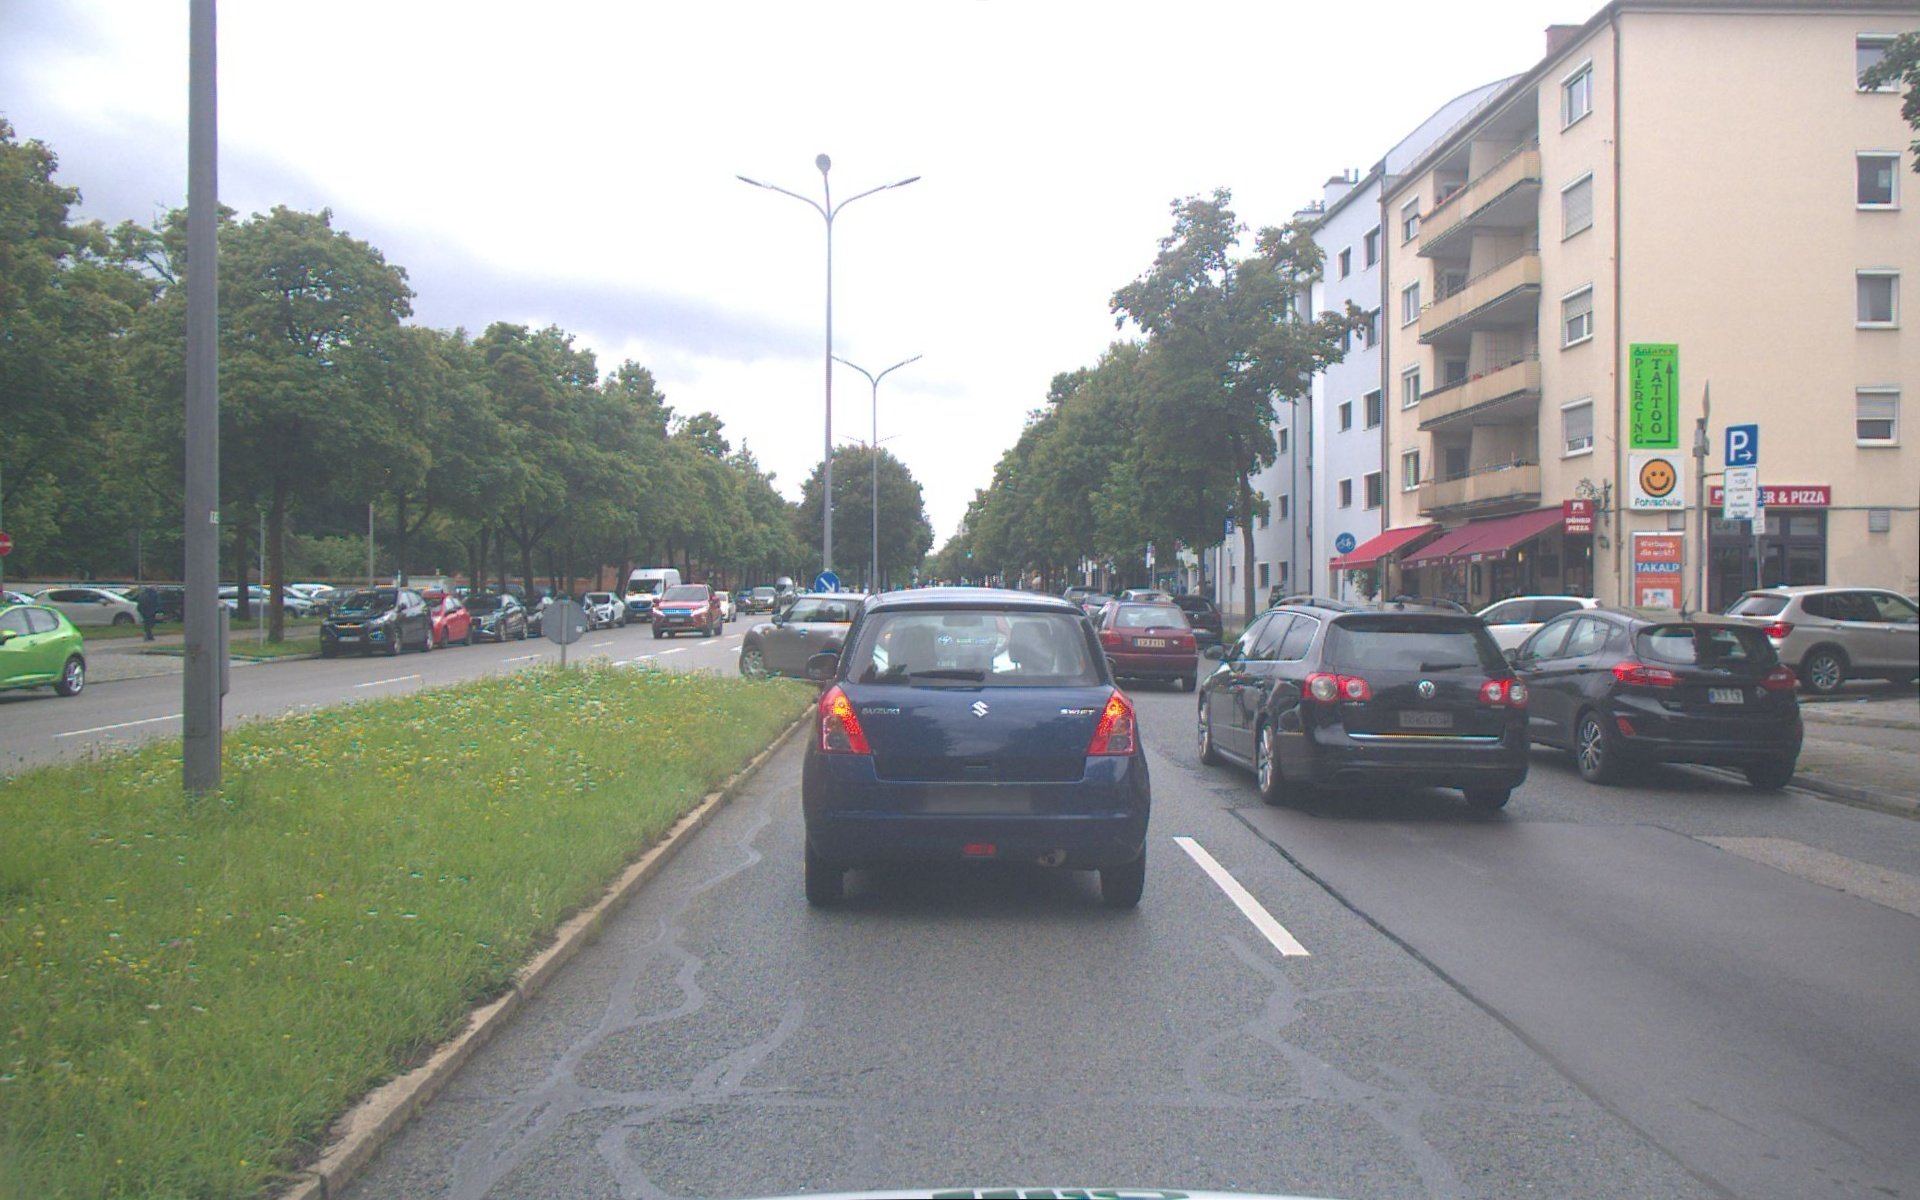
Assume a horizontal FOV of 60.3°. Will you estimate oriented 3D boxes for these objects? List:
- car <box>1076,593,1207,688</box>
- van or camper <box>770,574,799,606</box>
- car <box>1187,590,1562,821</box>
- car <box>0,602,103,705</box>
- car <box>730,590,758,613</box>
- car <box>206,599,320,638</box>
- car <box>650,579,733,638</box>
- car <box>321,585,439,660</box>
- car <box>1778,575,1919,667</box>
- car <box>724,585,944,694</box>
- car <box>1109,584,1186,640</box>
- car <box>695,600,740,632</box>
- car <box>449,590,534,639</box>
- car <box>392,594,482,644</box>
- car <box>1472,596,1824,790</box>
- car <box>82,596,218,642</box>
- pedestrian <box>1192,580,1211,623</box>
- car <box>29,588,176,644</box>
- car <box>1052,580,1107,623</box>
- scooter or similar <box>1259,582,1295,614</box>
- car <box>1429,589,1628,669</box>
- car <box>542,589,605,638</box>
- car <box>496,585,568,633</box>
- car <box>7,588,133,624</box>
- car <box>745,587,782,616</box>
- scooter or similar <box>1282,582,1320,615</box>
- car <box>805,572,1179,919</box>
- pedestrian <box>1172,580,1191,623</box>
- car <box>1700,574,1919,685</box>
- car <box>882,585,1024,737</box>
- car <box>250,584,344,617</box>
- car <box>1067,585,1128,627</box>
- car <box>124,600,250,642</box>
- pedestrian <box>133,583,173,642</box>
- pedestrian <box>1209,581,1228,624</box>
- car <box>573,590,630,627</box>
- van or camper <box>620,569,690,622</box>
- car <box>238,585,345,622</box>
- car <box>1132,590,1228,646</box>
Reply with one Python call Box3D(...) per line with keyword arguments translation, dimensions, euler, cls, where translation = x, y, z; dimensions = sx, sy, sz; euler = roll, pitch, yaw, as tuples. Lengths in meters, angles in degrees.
Box3D(translation=(2.942, 0.615, 27.458), dimensions=(1.648, 1.408, 3.918), euler=(1, 0, -1), cls="car")
Box3D(translation=(-19.075, -1.094, 179.753), dimensions=(2.509, 3.353, 6.935), euler=(1, 0, -2), cls="van or camper")
Box3D(translation=(3.023, 0.678, 13.045), dimensions=(1.696, 1.457, 4.441), euler=(1, 1, -2), cls="car")
Box3D(translation=(-14.421, 0.794, 24.287), dimensions=(1.515, 1.434, 3.880), euler=(-2, 1, 2), cls="car")
Box3D(translation=(-15.854, 0.119, 121.596), dimensions=(1.599, 1.610, 3.878), euler=(1, 0, -2), cls="car")
Box3D(translation=(-27.711, 0.719, 65.842), dimensions=(3.792, 1.471, 1.670), euler=(1, 0, -6), cls="car")
Box3D(translation=(-8.442, 0.234, 52.313), dimensions=(1.865, 1.726, 4.245), euler=(-2, 0, 0), cls="car")
Box3D(translation=(-14.568, 0.541, 41.734), dimensions=(1.682, 1.771, 3.878), euler=(1, 0, -2), cls="car")
Box3D(translation=(18.385, 0.357, 31.956), dimensions=(4.307, 1.690, 1.869), euler=(-1, 0, -6), cls="car")
Box3D(translation=(-1.960, 0.538, 24.889), dimensions=(1.668, 1.488, 3.688), euler=(0, 1, -35), cls="car")
Box3D(translation=(5.656, 0.327, 50.299), dimensions=(1.755, 1.585, 4.223), euler=(0, 1, -2), cls="car")
Box3D(translation=(-11.338, 0.721, 77.469), dimensions=(1.585, 1.399, 3.837), euler=(-2, 0, -1), cls="car")
Box3D(translation=(-14.638, 0.435, 51.839), dimensions=(1.633, 1.471, 3.878), euler=(1, 0, -2), cls="car")
Box3D(translation=(-14.828, 0.523, 47.031), dimensions=(1.558, 1.335, 3.380), euler=(1, 0, -2), cls="car")
Box3D(translation=(6.055, 0.741, 15.019), dimensions=(1.584, 1.491, 3.673), euler=(2, 0, -1), cls="car")
Box3D(translation=(-27.558, 0.639, 56.348), dimensions=(3.792, 1.471, 1.670), euler=(1, 0, -6), cls="car")
Box3D(translation=(11.568, 0.087, 79.284), dimensions=(0.778, 2.049, 1.006), euler=(0, 0, 0), cls="pedestrian")
Box3D(translation=(-27.673, 0.505, 53.461), dimensions=(3.843, 1.748, 1.670), euler=(1, 0, -6), cls="car")
Box3D(translation=(4.901, 0.042, 68.310), dimensions=(1.828, 1.712, 4.222), euler=(0, 1, -2), cls="car")
Box3D(translation=(13.781, -0.095, 71.947), dimensions=(1.011, 1.330, 2.755), euler=(0, 0, 0), cls="scooter or similar")
Box3D(translation=(10.904, 0.534, 31.689), dimensions=(3.477, 1.442, 1.871), euler=(0, 1, 24), cls="car")
Box3D(translation=(-14.818, 0.499, 63.562), dimensions=(1.599, 1.771, 3.878), euler=(1, 0, -2), cls="car")
Box3D(translation=(-14.767, 0.284, 57.186), dimensions=(1.558, 1.585, 3.878), euler=(1, 0, -2), cls="car")
Box3D(translation=(-39.031, 0.266, 72.590), dimensions=(4.595, 1.471, 1.672), euler=(1, 0, 0), cls="car")
Box3D(translation=(-11.967, 0.056, 100.791), dimensions=(1.730, 1.651, 4.505), euler=(-2, 0, -1), cls="car")
Box3D(translation=(14.003, -0.079, 68.029), dimensions=(1.011, 1.330, 2.755), euler=(0, 0, 0), cls="scooter or similar")
Box3D(translation=(0.086, 0.624, 9.271), dimensions=(1.648, 1.528, 3.917), euler=(0, 1, -2), cls="car")
Box3D(translation=(10.621, 0.088, 79.238), dimensions=(0.778, 2.049, 1.006), euler=(0, 0, 0), cls="pedestrian")
Box3D(translation=(14.687, 0.480, 27.166), dimensions=(4.312, 1.690, 1.867), euler=(1, 0, -10), cls="car")
Box3D(translation=(-0.114, 0.598, 18.153), dimensions=(1.415, 1.509, 3.105), euler=(0, 1, -2), cls="car")
Box3D(translation=(-31.210, 0.025, 77.943), dimensions=(3.792, 1.471, 1.670), euler=(1, 0, -6), cls="car")
Box3D(translation=(5.247, 0.188, 63.556), dimensions=(1.828, 1.544, 4.222), euler=(0, 1, -2), cls="car")
Box3D(translation=(-28.255, 0.756, 60.525), dimensions=(3.792, 1.471, 1.670), euler=(1, 0, -6), cls="car")
Box3D(translation=(-21.928, 0.334, 44.966), dimensions=(0.712, 1.561, 0.721), euler=(1, 0, 0), cls="pedestrian")
Box3D(translation=(12.391, 0.100, 79.325), dimensions=(0.778, 2.049, 1.006), euler=(0, 0, 0), cls="pedestrian")
Box3D(translation=(-14.911, 0.338, 68.897), dimensions=(1.599, 1.456, 3.878), euler=(1, 0, -2), cls="car")
Box3D(translation=(-15.257, -0.221, 83.072), dimensions=(2.073, 2.525, 7.448), euler=(1, 0, 0), cls="van or camper")
Box3D(translation=(-27.916, 0.128, 69.124), dimensions=(3.792, 1.471, 1.670), euler=(1, 0, -6), cls="car")
Box3D(translation=(6.001, 0.455, 45.531), dimensions=(1.829, 1.442, 4.221), euler=(0, 1, -4), cls="car")
